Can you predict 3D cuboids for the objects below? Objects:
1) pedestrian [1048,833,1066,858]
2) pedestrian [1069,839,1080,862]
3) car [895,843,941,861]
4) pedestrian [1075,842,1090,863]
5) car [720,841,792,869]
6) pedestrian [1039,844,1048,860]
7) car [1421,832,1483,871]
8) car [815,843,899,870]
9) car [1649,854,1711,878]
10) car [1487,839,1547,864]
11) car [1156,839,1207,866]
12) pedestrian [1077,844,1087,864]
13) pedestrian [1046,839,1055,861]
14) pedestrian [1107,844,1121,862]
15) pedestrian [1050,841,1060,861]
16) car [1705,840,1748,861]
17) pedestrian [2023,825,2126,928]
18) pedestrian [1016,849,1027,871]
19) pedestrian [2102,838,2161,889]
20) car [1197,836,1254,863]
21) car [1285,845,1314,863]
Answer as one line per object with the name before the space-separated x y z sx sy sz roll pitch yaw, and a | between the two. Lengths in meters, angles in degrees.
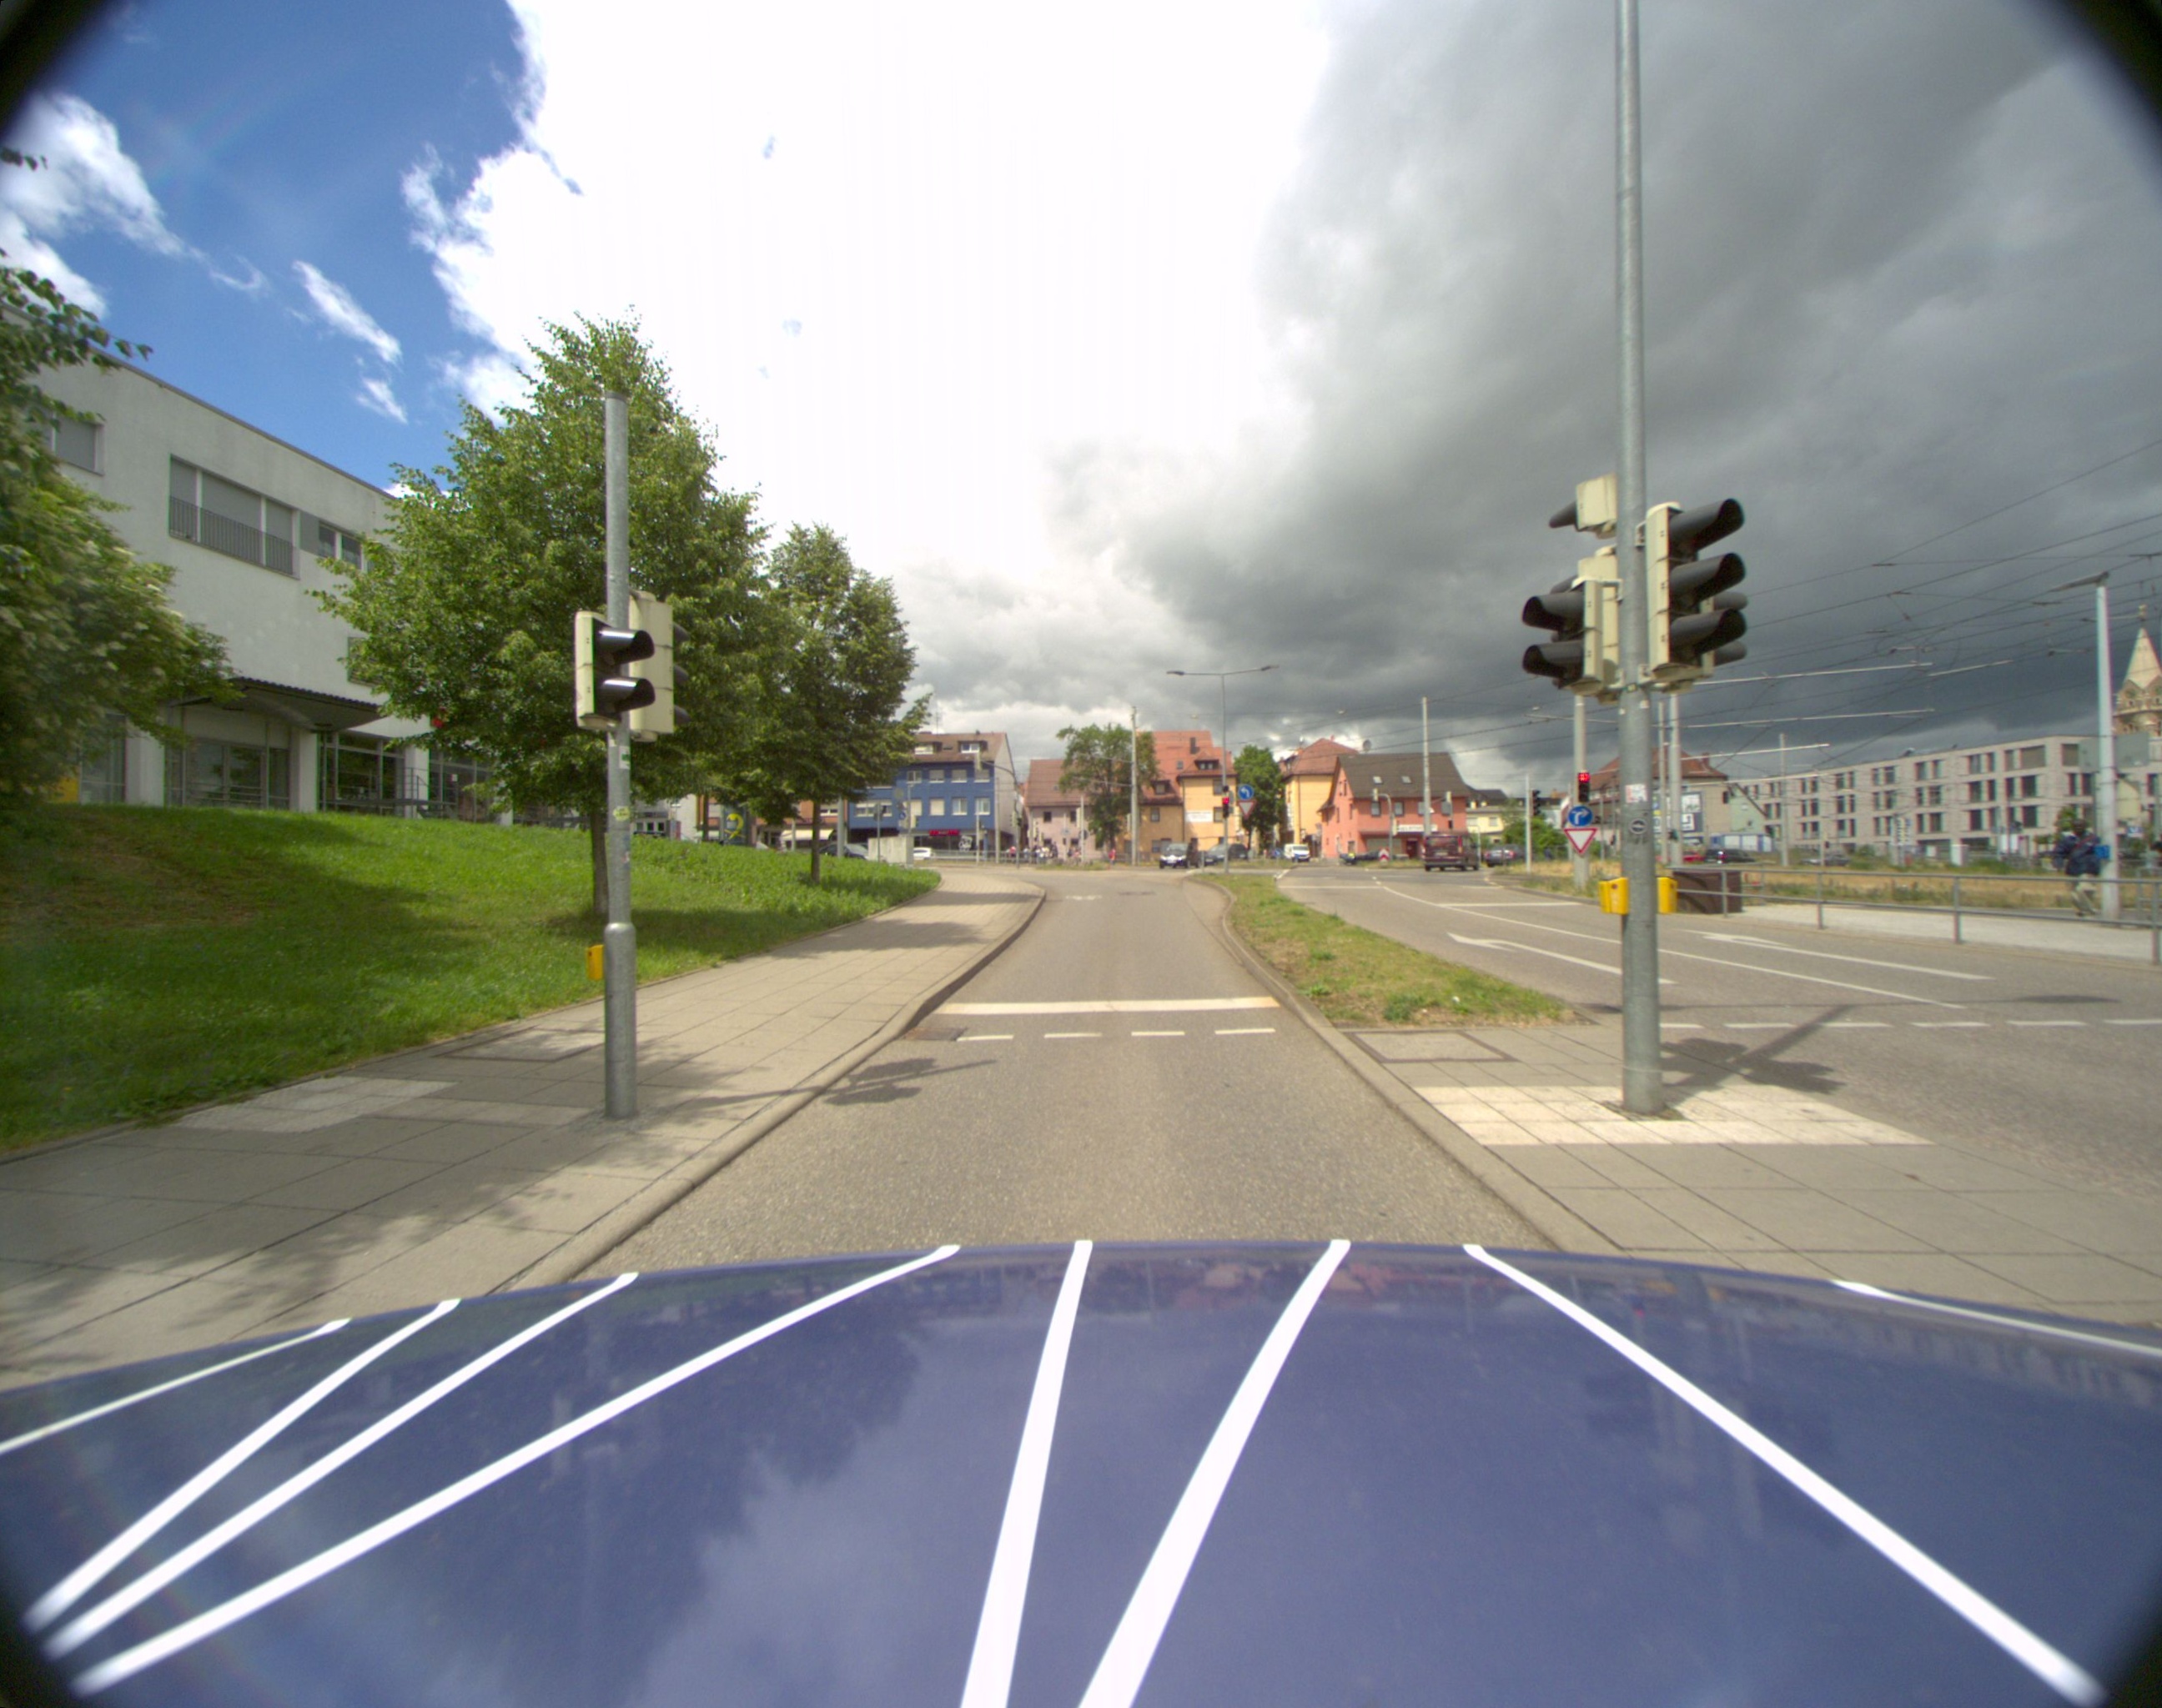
pedestrian | -1.806 -0.648 57.404 0.970 1.830 0.823 3 -1 -40
pedestrian | -0.519 -0.273 57.872 0.693 1.740 0.751 0 0 -13
car | -15.026 -0.168 70.079 3.999 1.522 1.712 0 -1 -7
pedestrian | 0.094 -0.110 58.963 0.893 1.642 0.824 0 0 -25
car | -20.154 0.080 47.067 3.990 1.632 2.004 -1 -1 27
pedestrian | -3.060 -0.162 62.191 0.675 1.367 0.635 0 0 -4
car | 18.844 -0.154 38.437 1.994 1.812 5.081 0 1 35
car | -12.652 0.108 42.884 4.312 1.456 2.057 0 1 27
car | 52.467 1.091 66.597 4.000 2.001 1.999 0 -1 -9
car | 26.576 -0.175 46.238 5.062 1.402 1.798 -2 2 -43
car | 5.977 -0.043 44.800 1.879 1.420 4.008 -1 -2 24
pedestrian | 0.076 -0.001 61.061 0.587 1.518 0.675 1 -1 -12
pedestrian | -2.444 -0.302 61.327 0.675 1.740 0.587 0 1 -5
pedestrian | 2.576 -0.072 59.769 0.855 1.472 0.740 0 0 -26
pedestrian | -2.042 -0.222 59.791 0.675 1.556 0.586 -1 1 -14
car | 51.523 -0.291 60.660 4.305 1.571 1.806 -1 1 -39
pedestrian | 15.881 0.339 12.159 0.835 1.594 0.670 0 1 -11
pedestrian | -4.809 0.480 61.240 0.754 1.740 0.586 0 0 -26
pedestrian | 42.367 0.371 30.499 1.254 2.002 1.142 1 1 26
car | 9.858 -0.264 51.609 1.994 1.639 4.430 -2 -2 37
car | 23.833 0.048 82.990 2.079 1.886 4.664 -1 0 3
